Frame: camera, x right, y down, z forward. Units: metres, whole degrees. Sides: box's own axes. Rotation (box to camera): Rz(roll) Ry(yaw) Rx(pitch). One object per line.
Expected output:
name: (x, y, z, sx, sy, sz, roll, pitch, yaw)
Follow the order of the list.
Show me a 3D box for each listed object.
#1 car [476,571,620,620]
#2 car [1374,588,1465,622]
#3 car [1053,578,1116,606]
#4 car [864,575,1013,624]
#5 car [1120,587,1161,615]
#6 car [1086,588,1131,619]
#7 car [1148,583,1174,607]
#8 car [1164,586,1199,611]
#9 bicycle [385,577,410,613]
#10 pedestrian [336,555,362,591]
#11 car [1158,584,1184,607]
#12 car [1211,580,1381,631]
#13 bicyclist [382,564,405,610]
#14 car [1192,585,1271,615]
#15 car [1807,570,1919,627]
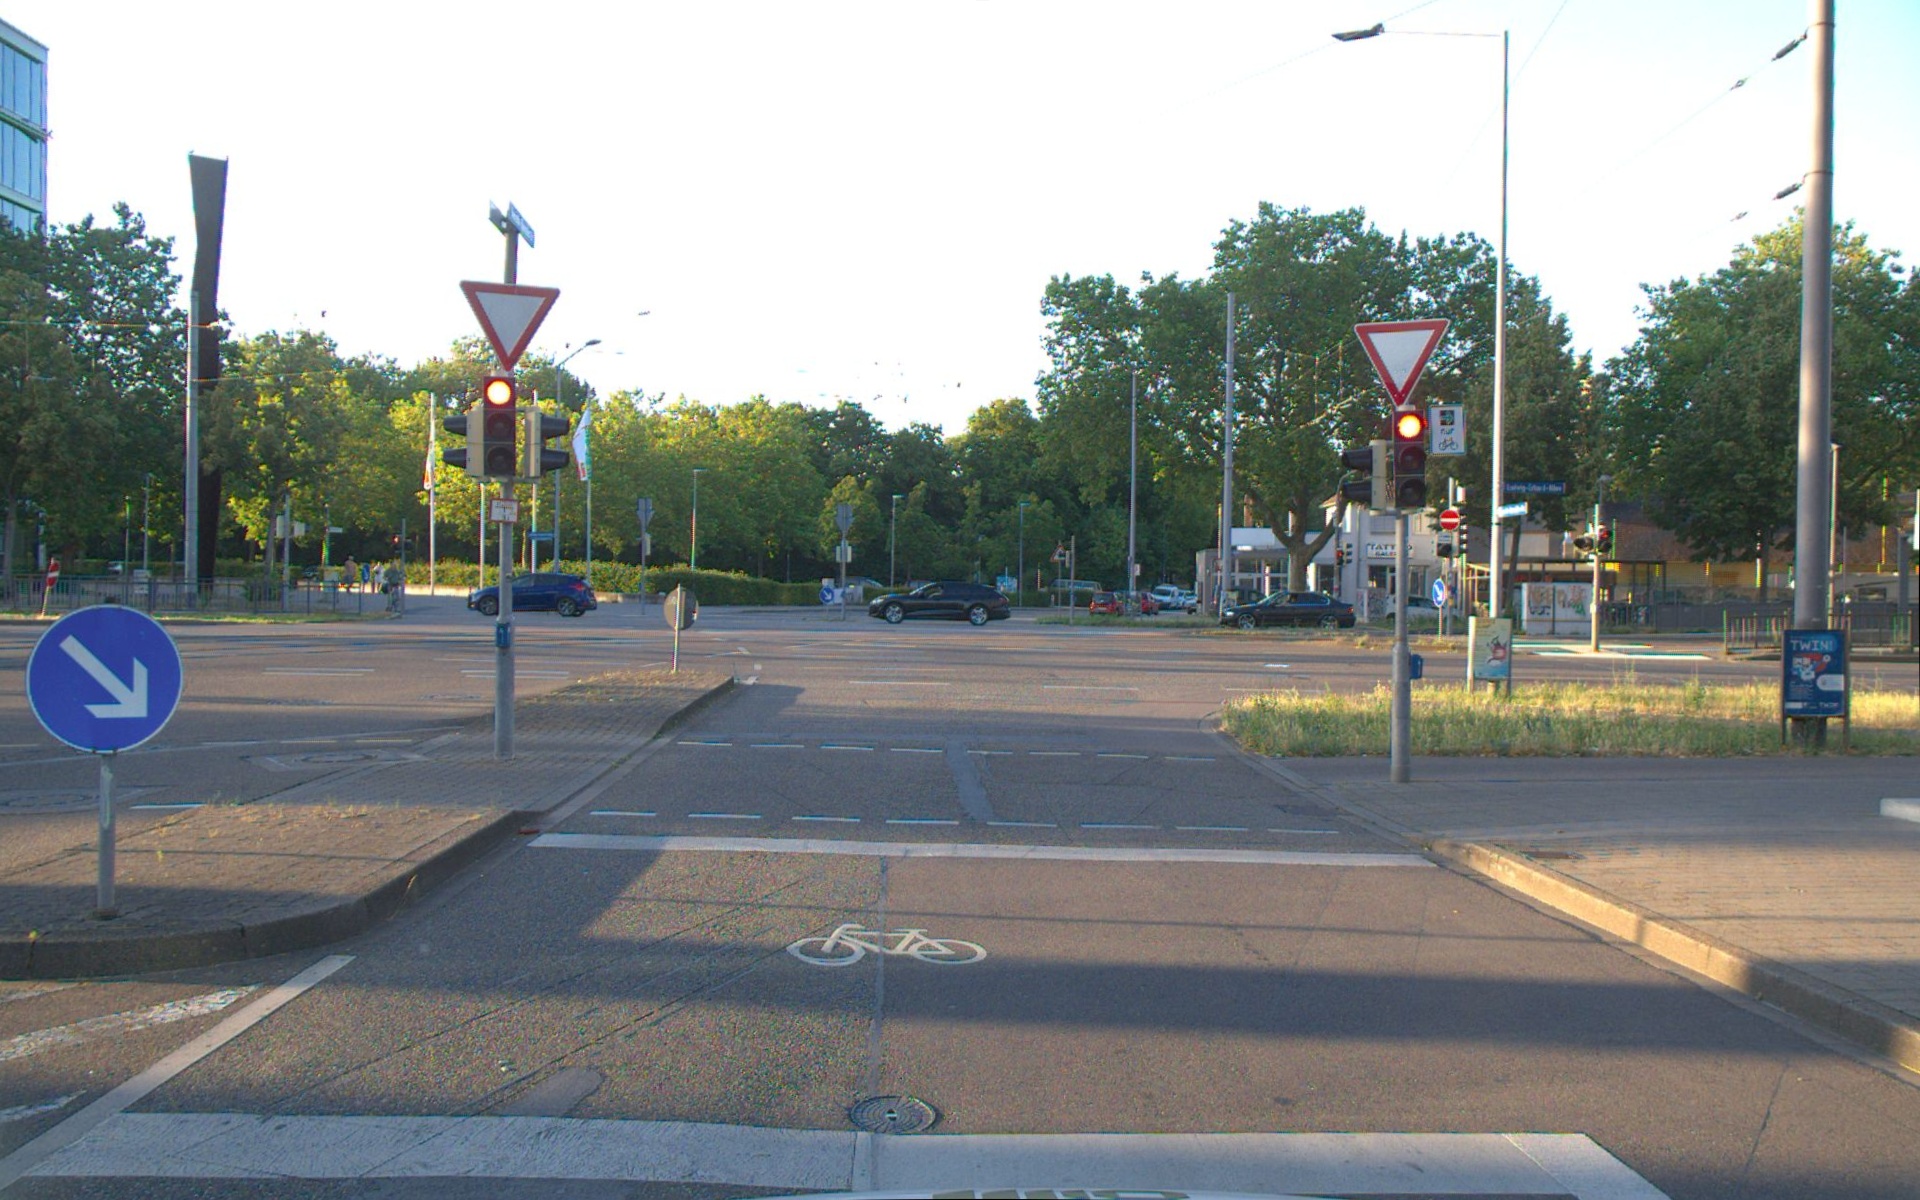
car: (-14.054, -0.137, 56.565, 4.380, 1.579, 2.000, 1, -1, 0)
car: (20.142, 0.227, 72.621, 3.659, 1.465, 1.665, 1, -1, 9)
car: (9.499, -0.592, 126.018, 4.675, 2.041, 2.000, 1, -1, 1)
car: (-0.746, -0.005, 56.925, 4.997, 1.579, 1.999, 1, -1, -2)
car: (11.312, 0.092, 103.534, 1.951, 1.691, 4.003, 0, -1, 14)
car: (8.615, 0.218, 95.804, 1.951, 1.691, 4.003, 0, -1, 14)
car: (15.989, -0.365, 131.429, 1.823, 1.825, 4.003, 1, -1, 10)
car: (15.547, -0.066, 115.826, 1.951, 1.691, 4.003, 0, -1, 14)
bicycle: (-21.514, -0.207, 63.208, 0.720, 1.364, 2.671, 1, 1, -23)
pedestrian: (-29.974, -1.329, 81.132, 0.844, 1.774, 0.828, 1, 0, 30)
car: (17.397, -0.355, 136.345, 1.823, 1.825, 4.003, 0, -1, 12)
car: (10.926, 0.173, 54.010, 5.119, 1.579, 1.999, 1, -1, -2)
bicyclist: (-21.601, -0.495, 63.054, 0.740, 1.739, 0.914, 1, 0, -22)
car: (14.648, 0.023, 89.381, 4.129, 1.579, 2.001, 1, -1, 7)
car: (43.652, -0.068, 78.696, 5.476, 2.596, 2.231, 1, 0, 7)
